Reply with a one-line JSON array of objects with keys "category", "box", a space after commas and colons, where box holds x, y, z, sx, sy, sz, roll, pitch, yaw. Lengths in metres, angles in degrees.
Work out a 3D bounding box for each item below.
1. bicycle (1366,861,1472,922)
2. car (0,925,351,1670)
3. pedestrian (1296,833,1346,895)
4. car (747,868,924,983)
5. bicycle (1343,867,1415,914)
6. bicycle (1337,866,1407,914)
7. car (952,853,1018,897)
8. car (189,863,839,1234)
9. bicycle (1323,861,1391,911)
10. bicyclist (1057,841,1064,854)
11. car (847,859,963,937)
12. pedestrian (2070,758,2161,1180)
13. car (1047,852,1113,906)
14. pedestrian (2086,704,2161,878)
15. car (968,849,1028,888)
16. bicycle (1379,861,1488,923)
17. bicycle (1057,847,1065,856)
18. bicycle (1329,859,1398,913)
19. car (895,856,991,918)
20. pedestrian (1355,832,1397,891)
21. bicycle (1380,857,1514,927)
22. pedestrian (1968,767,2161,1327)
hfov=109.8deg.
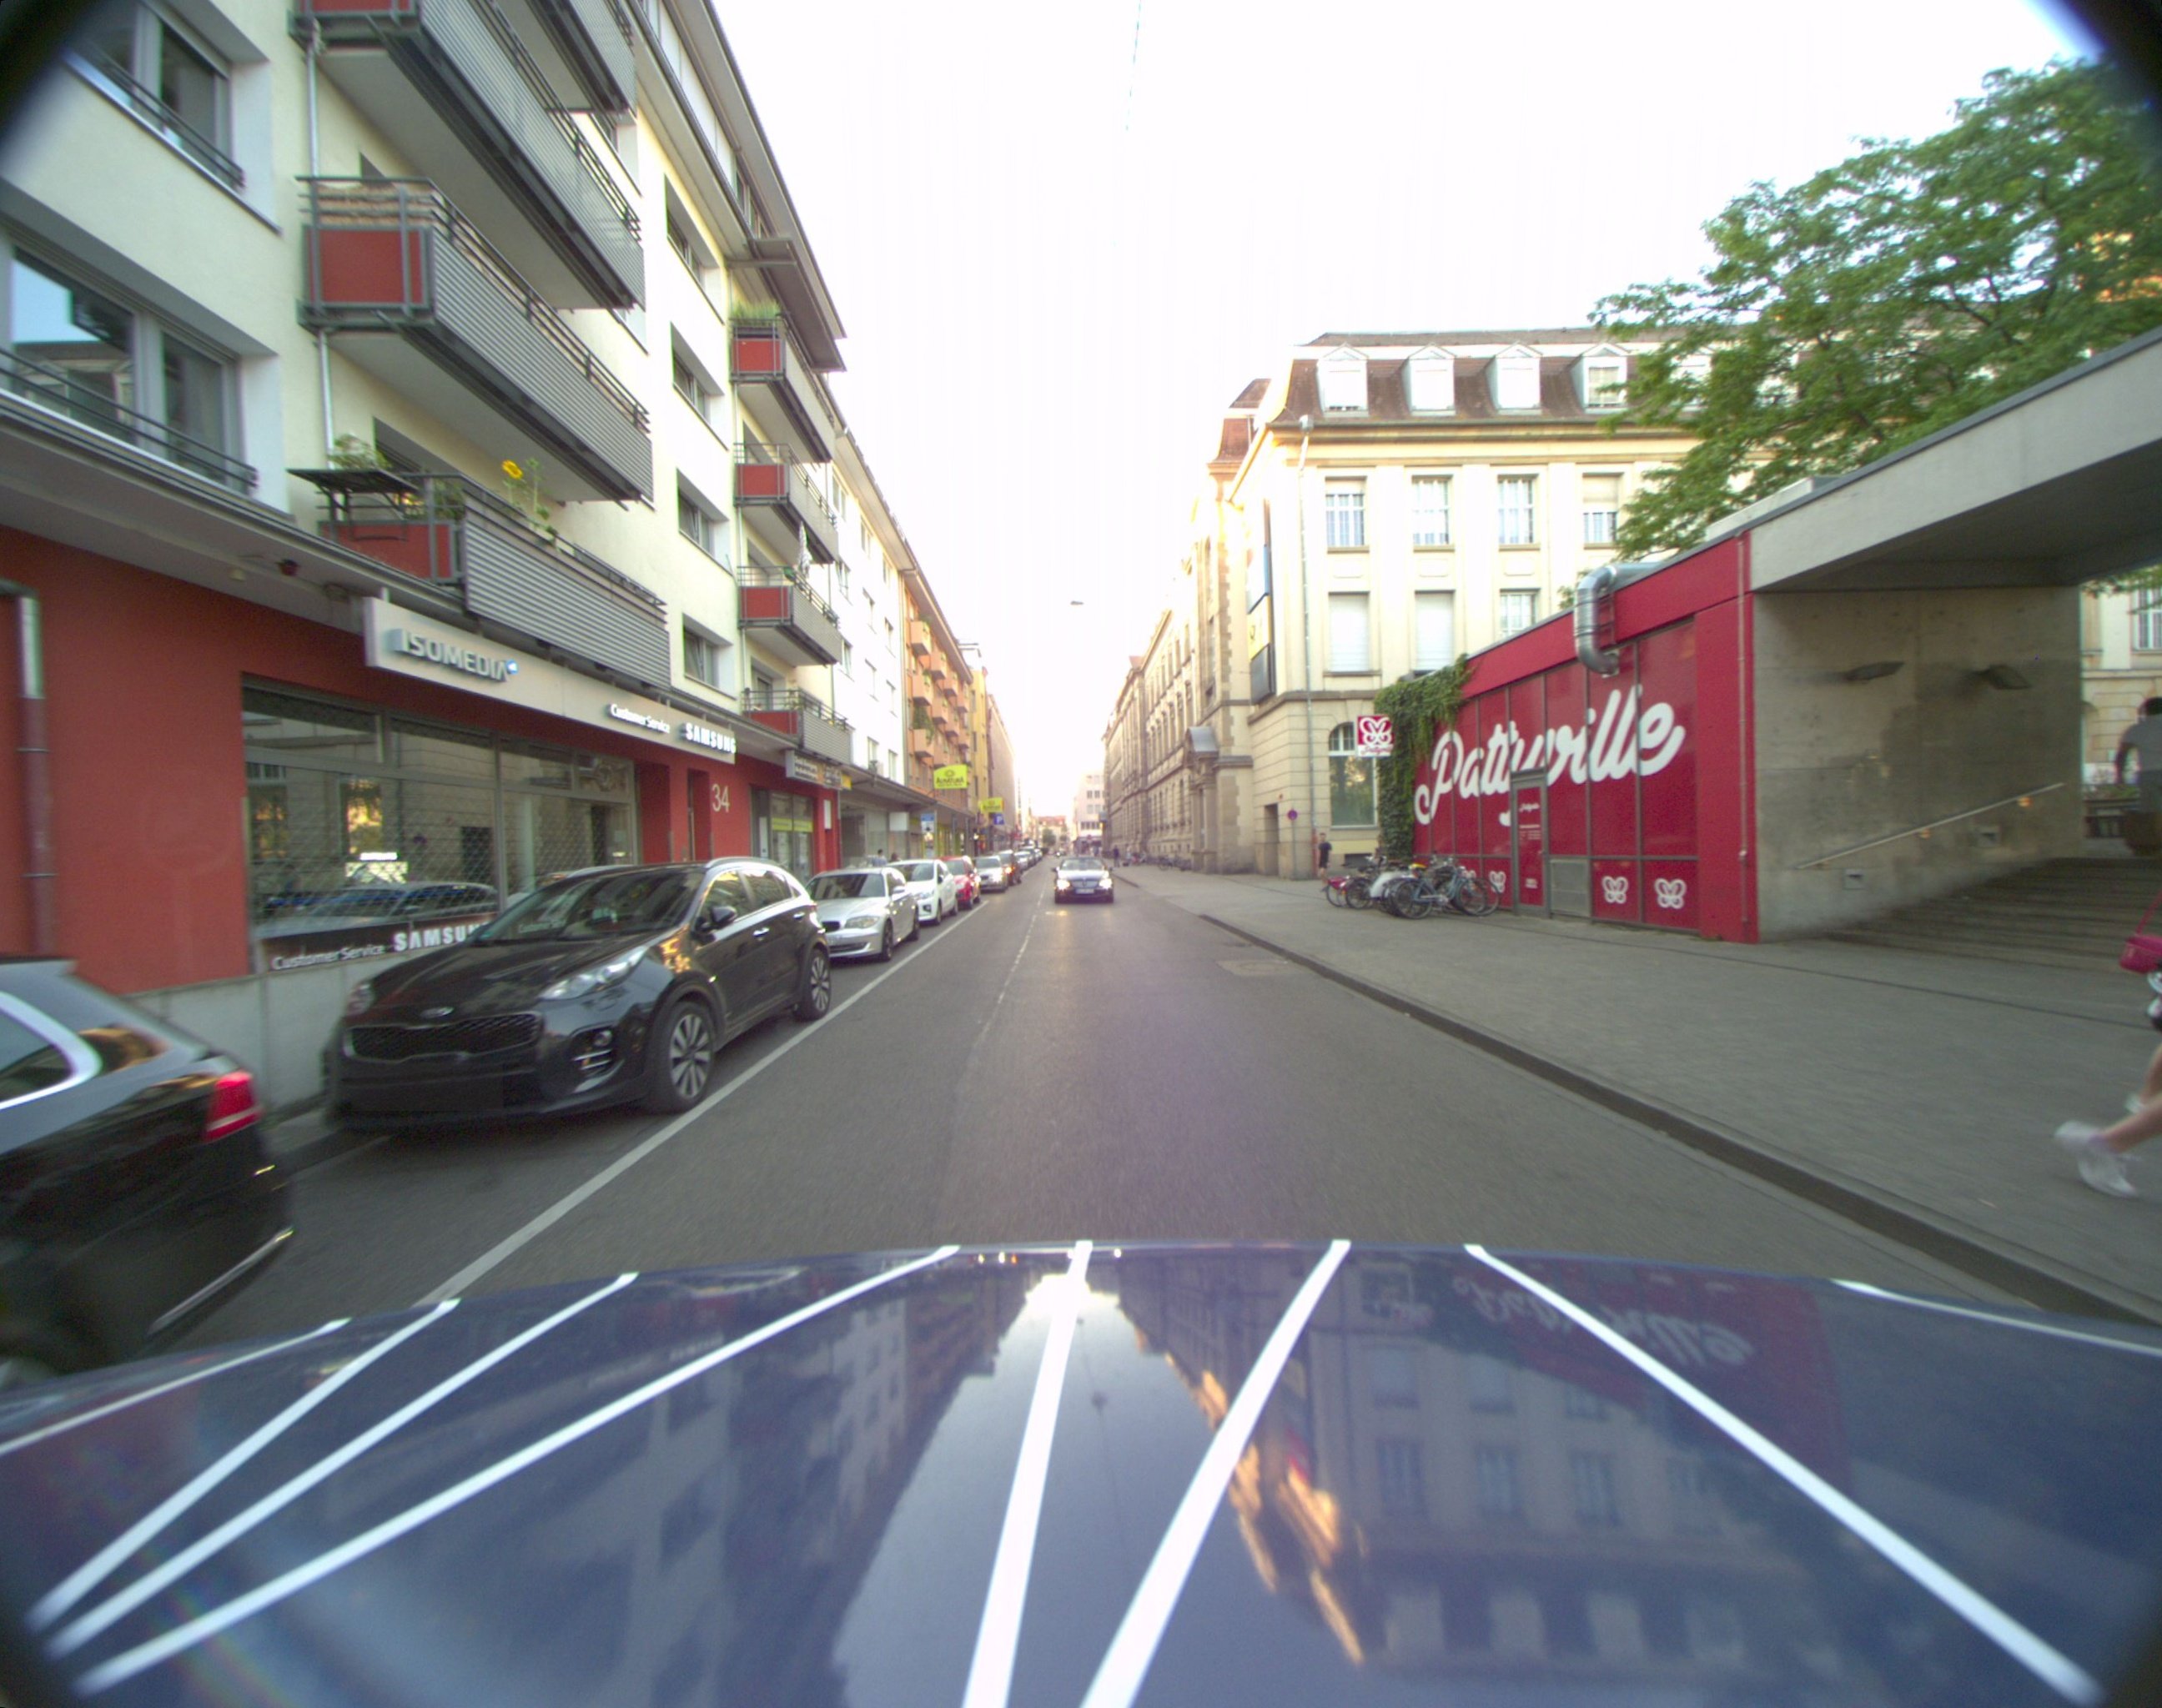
[{"category": "bicycle", "box": [6.614, 0.731, 14.921, 1.844, 1.077, 0.354, -3, 1, 4]}, {"category": "car", "box": [-3.348, 1.067, 0.112, 1.878, 1.543, 4.630, -3, 0, 1]}, {"category": "pedestrian", "box": [7.406, 0.295, 23.472, 1.009, 1.816, 0.944, -4, 1, -28]}, {"category": "car", "box": [-3.780, 1.021, 12.442, 1.752, 1.395, 3.965, -3, 0, -4]}, {"category": "bicycle", "box": [6.598, 0.802, 16.844, 1.501, 0.950, 0.312, -3, 1, -10]}, {"category": "bicycle", "box": [6.568, 0.804, 17.154, 1.501, 0.973, 0.312, -3, 1, -10]}, {"category": "car", "box": [-3.690, 0.766, 29.933, 1.897, 1.468, 4.300, -3, 0, 1]}, {"category": "car", "box": [-3.494, 1.000, 5.889, 1.884, 1.690, 4.136, -3, 1, -1]}, {"category": "bicycle", "box": [6.472, 0.751, 17.815, 1.501, 1.070, 0.312, -3, 1, -10]}, {"category": "bicyclist", "box": [-3.341, -1.088, 124.570, 1.045, 2.002, 1.182, -2, 1, 1]}, {"category": "car", "box": [-3.982, 0.936, 17.823, 1.767, 1.468, 3.947, -3, 0, -1]}, {"category": "pedestrian", "box": [4.933, 0.471, 3.089, 0.811, 1.783, 0.736, -3, 1, 1]}, {"category": "car", "box": [-0.002, 0.689, 23.468, 1.809, 1.400, 4.616, -1, 1, 1]}, {"category": "pedestrian", "box": [11.693, -0.679, 8.215, 0.833, 1.816, 0.943, -4, 1, -38]}, {"category": "car", "box": [-3.813, 0.626, 35.656, 1.998, 1.607, 4.367, -3, 0, 3]}, {"category": "bicycle", "box": [6.696, 0.717, 14.470, 1.844, 1.077, 0.354, -3, 1, 4]}, {"category": "bicycle", "box": [-3.231, -0.398, 124.805, 1.038, 1.513, 2.822, -2, 1, 3]}, {"category": "bicycle", "box": [6.497, 0.729, 17.471, 1.501, 1.134, 0.312, -3, 1, -10]}, {"category": "car", "box": [-3.906, 0.876, 22.255, 1.866, 1.468, 4.394, -3, 0, 1]}, {"category": "pedestrian", "box": [8.994, 0.220, 23.180, 0.920, 1.717, 0.702, -2, 1, -6]}, {"category": "bicycle", "box": [6.769, 0.699, 14.104, 2.180, 1.149, 0.446, -3, 1, 4]}, {"category": "pedestrian", "box": [3.824, 0.595, 2.451, 0.851, 1.783, 0.869, -3, 1, 1]}]
